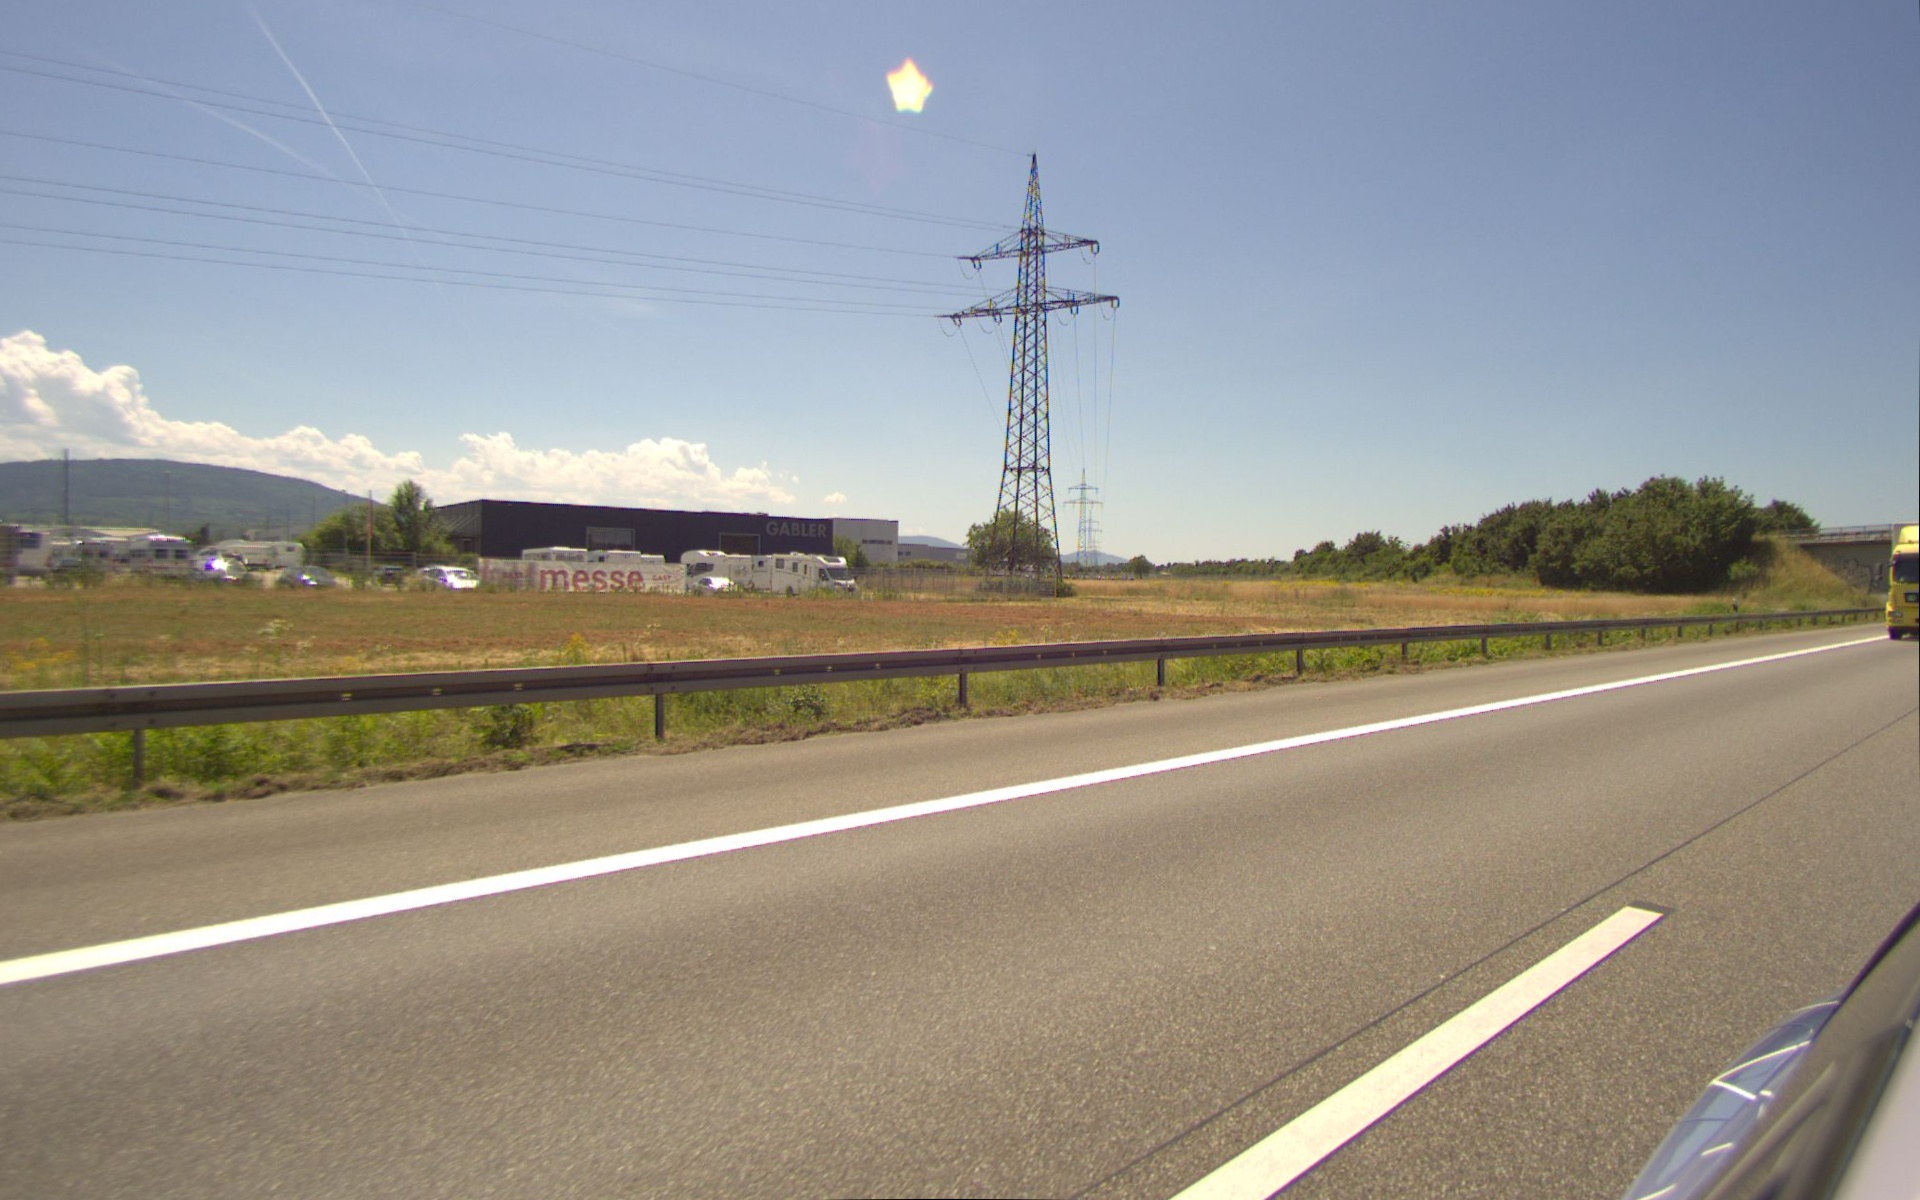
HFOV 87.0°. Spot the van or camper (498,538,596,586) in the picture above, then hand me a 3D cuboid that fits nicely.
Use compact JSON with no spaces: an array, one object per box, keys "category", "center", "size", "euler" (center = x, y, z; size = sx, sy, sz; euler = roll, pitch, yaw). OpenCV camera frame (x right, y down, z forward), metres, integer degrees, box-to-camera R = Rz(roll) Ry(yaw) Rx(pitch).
[{"category":"van or camper","center":[-26.427,-2.414,64.603],"size":[3.105,2.916,7.743],"euler":[0,2,-45]}]

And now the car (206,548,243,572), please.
[{"category":"car","center":[-64.687,-3.514,89.011],"size":[2.111,2.038,4.274],"euler":[0,2,-43]}]

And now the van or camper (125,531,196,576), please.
[{"category":"van or camper","center":[-43.913,-2.572,55.518],"size":[2.508,2.337,5.645],"euler":[0,3,-44]}]

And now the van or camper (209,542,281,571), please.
[{"category":"van or camper","center":[-73.636,-4.458,104.303],"size":[5.849,2.775,2.502],"euler":[2,2,4]}]

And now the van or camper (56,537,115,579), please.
[{"category":"van or camper","center":[-57.041,-2.755,65.996],"size":[5.313,2.588,2.384],"euler":[3,2,43]}]

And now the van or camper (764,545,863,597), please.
[{"category":"van or camper","center":[-9.507,-1.894,65.090],"size":[2.393,3.139,7.750],"euler":[0,2,-42]}]

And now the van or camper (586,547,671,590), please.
[{"category":"van or camper","center":[-23.620,-2.239,71.826],"size":[2.561,2.916,7.743],"euler":[0,2,-44]}]

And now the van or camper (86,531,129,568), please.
[{"category":"van or camper","center":[-71.770,-4.255,85.146],"size":[2.462,2.932,5.944],"euler":[0,2,-43]}]

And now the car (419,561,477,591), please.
[{"category":"car","center":[-24.833,-1.176,49.025],"size":[1.559,1.314,3.897],"euler":[0,2,-42]}]

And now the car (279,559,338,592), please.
[{"category":"car","center":[-28.385,-1.094,44.069],"size":[1.559,1.314,3.897],"euler":[0,2,-42]}]

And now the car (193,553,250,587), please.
[{"category":"car","center":[-31.019,-1.269,42.454],"size":[1.559,1.314,3.897],"euler":[0,2,-42]}]

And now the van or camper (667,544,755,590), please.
[{"category":"van or camper","center":[-18.673,-2.458,75.511],"size":[7.738,3.232,2.633],"euler":[2,2,44]}]

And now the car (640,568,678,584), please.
[{"category":"car","center":[-26.699,-2.164,89.773],"size":[1.670,1.371,3.993],"euler":[0,2,-42]}]

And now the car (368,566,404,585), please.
[{"category":"car","center":[-43.392,-1.871,76.453],"size":[1.559,1.314,3.897],"euler":[0,2,-42]}]

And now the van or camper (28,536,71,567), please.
[{"category":"van or camper","center":[-74.797,-3.979,83.106],"size":[2.462,2.414,5.944],"euler":[0,3,-43]}]

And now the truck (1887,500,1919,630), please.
[{"category":"truck","center":[35.775,-1.154,36.031],"size":[10.495,4.253,2.938],"euler":[0,0,-41]}]

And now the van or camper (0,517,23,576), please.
[{"category":"van or camper","center":[-48.435,-2.701,50.422],"size":[2.380,2.801,6.457],"euler":[0,2,-42]}]

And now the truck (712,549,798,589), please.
[{"category":"truck","center":[-15.910,-2.383,78.033],"size":[2.728,2.916,7.743],"euler":[0,2,-44]}]

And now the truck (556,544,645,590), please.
[{"category":"truck","center":[-24.009,-2.184,67.277],"size":[2.561,2.916,7.743],"euler":[0,2,-44]}]

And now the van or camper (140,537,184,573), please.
[{"category":"van or camper","center":[-68.525,-3.849,86.829],"size":[2.462,2.932,5.944],"euler":[0,2,-43]}]

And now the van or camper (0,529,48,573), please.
[{"category":"van or camper","center":[-57.610,-3.014,61.852],"size":[5.313,2.588,2.384],"euler":[3,2,43]}]

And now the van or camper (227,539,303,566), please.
[{"category":"van or camper","center":[-75.764,-5.152,110.498],"size":[6.518,2.775,2.509],"euler":[1,2,-27]}]
